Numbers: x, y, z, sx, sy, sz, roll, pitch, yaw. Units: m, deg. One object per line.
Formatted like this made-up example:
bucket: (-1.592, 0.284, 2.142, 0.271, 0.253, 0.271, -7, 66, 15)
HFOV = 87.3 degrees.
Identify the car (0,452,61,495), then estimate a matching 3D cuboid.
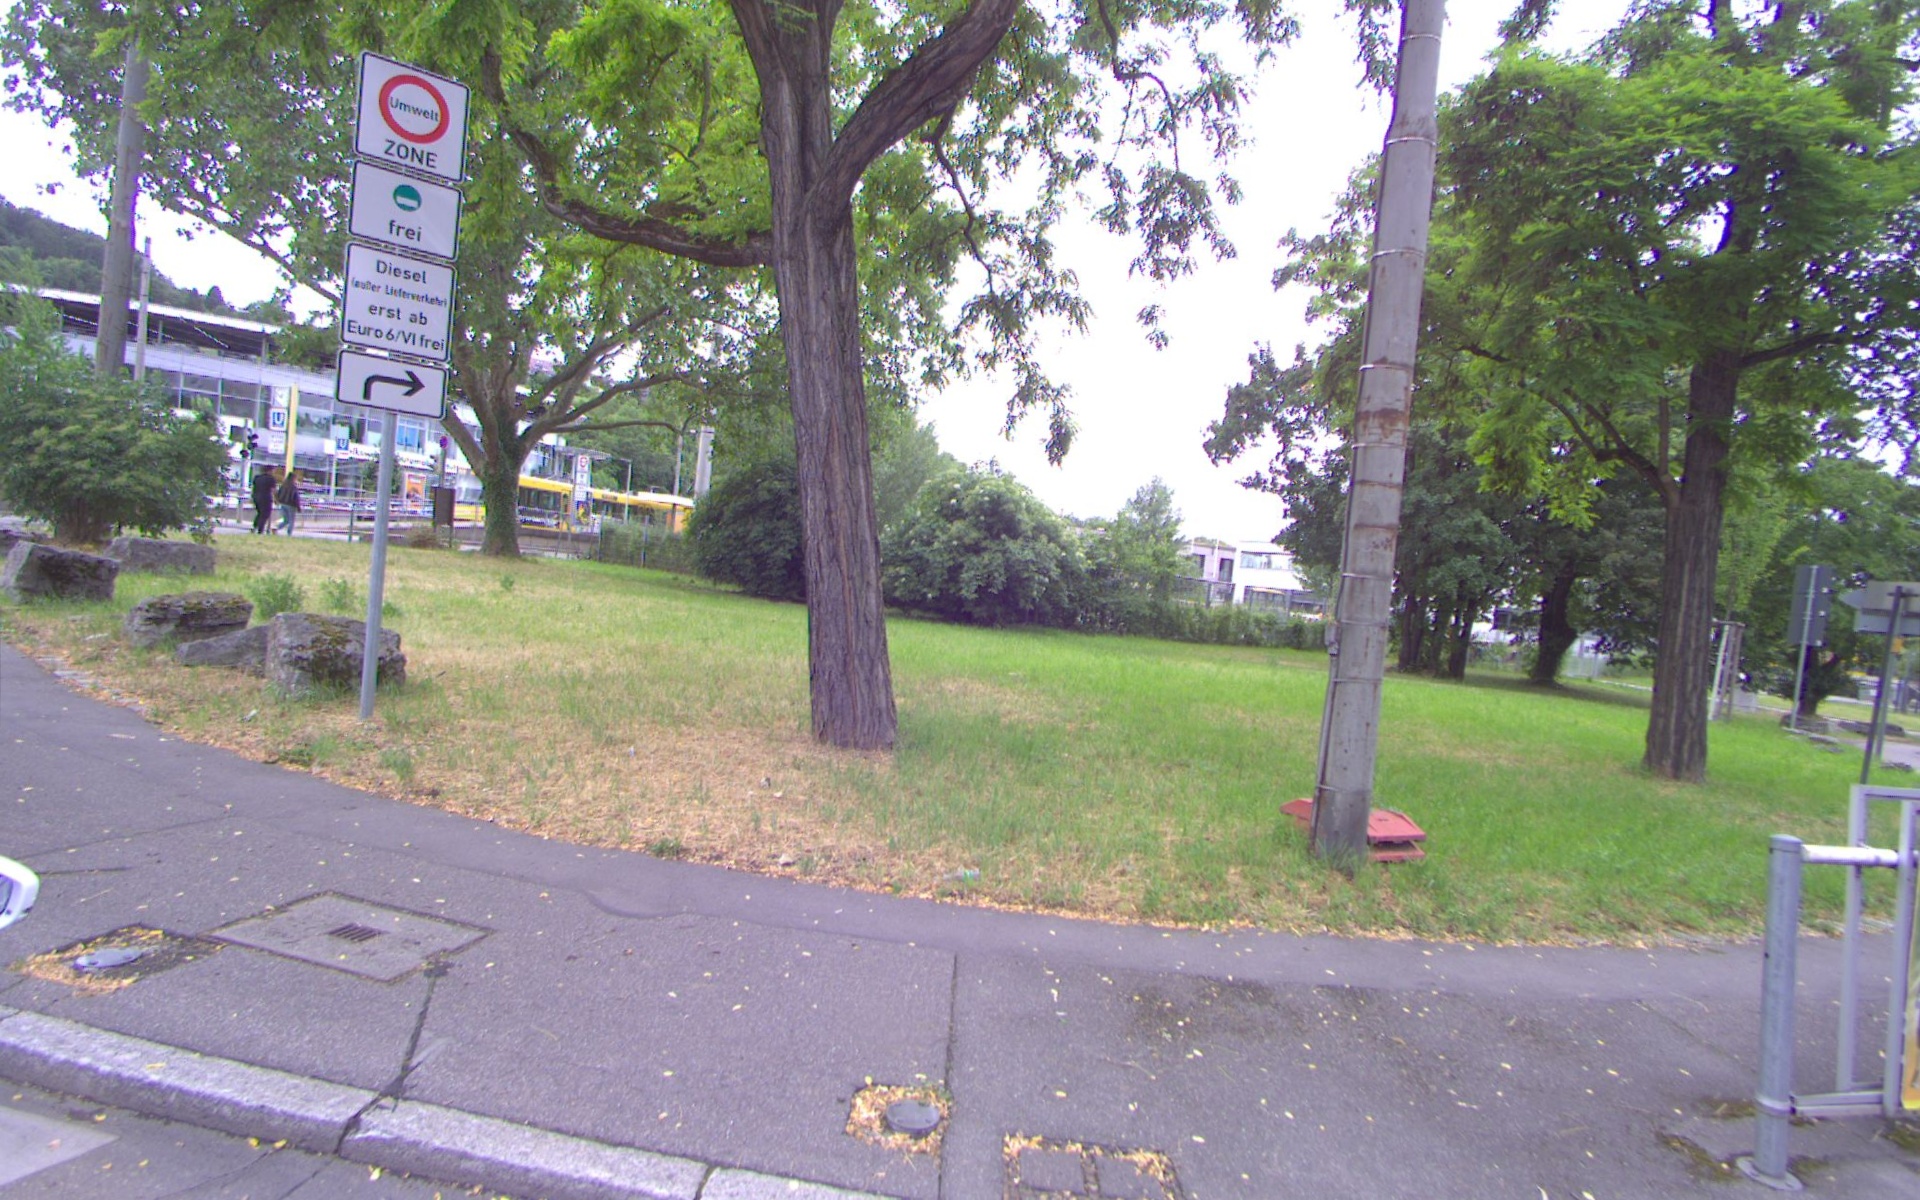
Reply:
car: (-46.591, -6.280, 48.990, 3.923, 1.659, 2.003, 7, -2, 9)

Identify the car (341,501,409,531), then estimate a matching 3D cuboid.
car: (-40.814, -5.852, 70.171, 3.925, 1.575, 1.926, 7, 2, 18)

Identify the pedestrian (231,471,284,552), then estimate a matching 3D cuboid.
pedestrian: (-17.561, -2.203, 25.159, 0.593, 1.889, 0.672, 7, -1, 14)

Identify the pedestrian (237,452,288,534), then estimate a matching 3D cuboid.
pedestrian: (-17.016, -2.601, 24.558, 0.593, 1.891, 0.671, 7, 2, 14)

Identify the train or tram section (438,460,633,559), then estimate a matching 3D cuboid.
train or tram section: (-21.930, -4.525, 53.207, 2.697, 4.019, 11.904, 7, 2, 13)

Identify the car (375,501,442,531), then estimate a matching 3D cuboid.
car: (-39.918, -6.050, 72.791, 3.925, 1.572, 1.929, 7, -2, 18)

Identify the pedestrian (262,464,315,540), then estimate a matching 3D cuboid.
pedestrian: (-16.318, -2.379, 24.471, 0.593, 1.709, 0.672, 7, -1, 14)

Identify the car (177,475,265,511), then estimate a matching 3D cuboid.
car: (-43.494, -6.304, 59.268, 3.923, 1.575, 1.926, 7, 2, 9)

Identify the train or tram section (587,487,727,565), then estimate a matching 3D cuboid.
train or tram section: (-19.141, -4.554, 64.802, 2.697, 4.019, 11.904, 7, 2, 13)
